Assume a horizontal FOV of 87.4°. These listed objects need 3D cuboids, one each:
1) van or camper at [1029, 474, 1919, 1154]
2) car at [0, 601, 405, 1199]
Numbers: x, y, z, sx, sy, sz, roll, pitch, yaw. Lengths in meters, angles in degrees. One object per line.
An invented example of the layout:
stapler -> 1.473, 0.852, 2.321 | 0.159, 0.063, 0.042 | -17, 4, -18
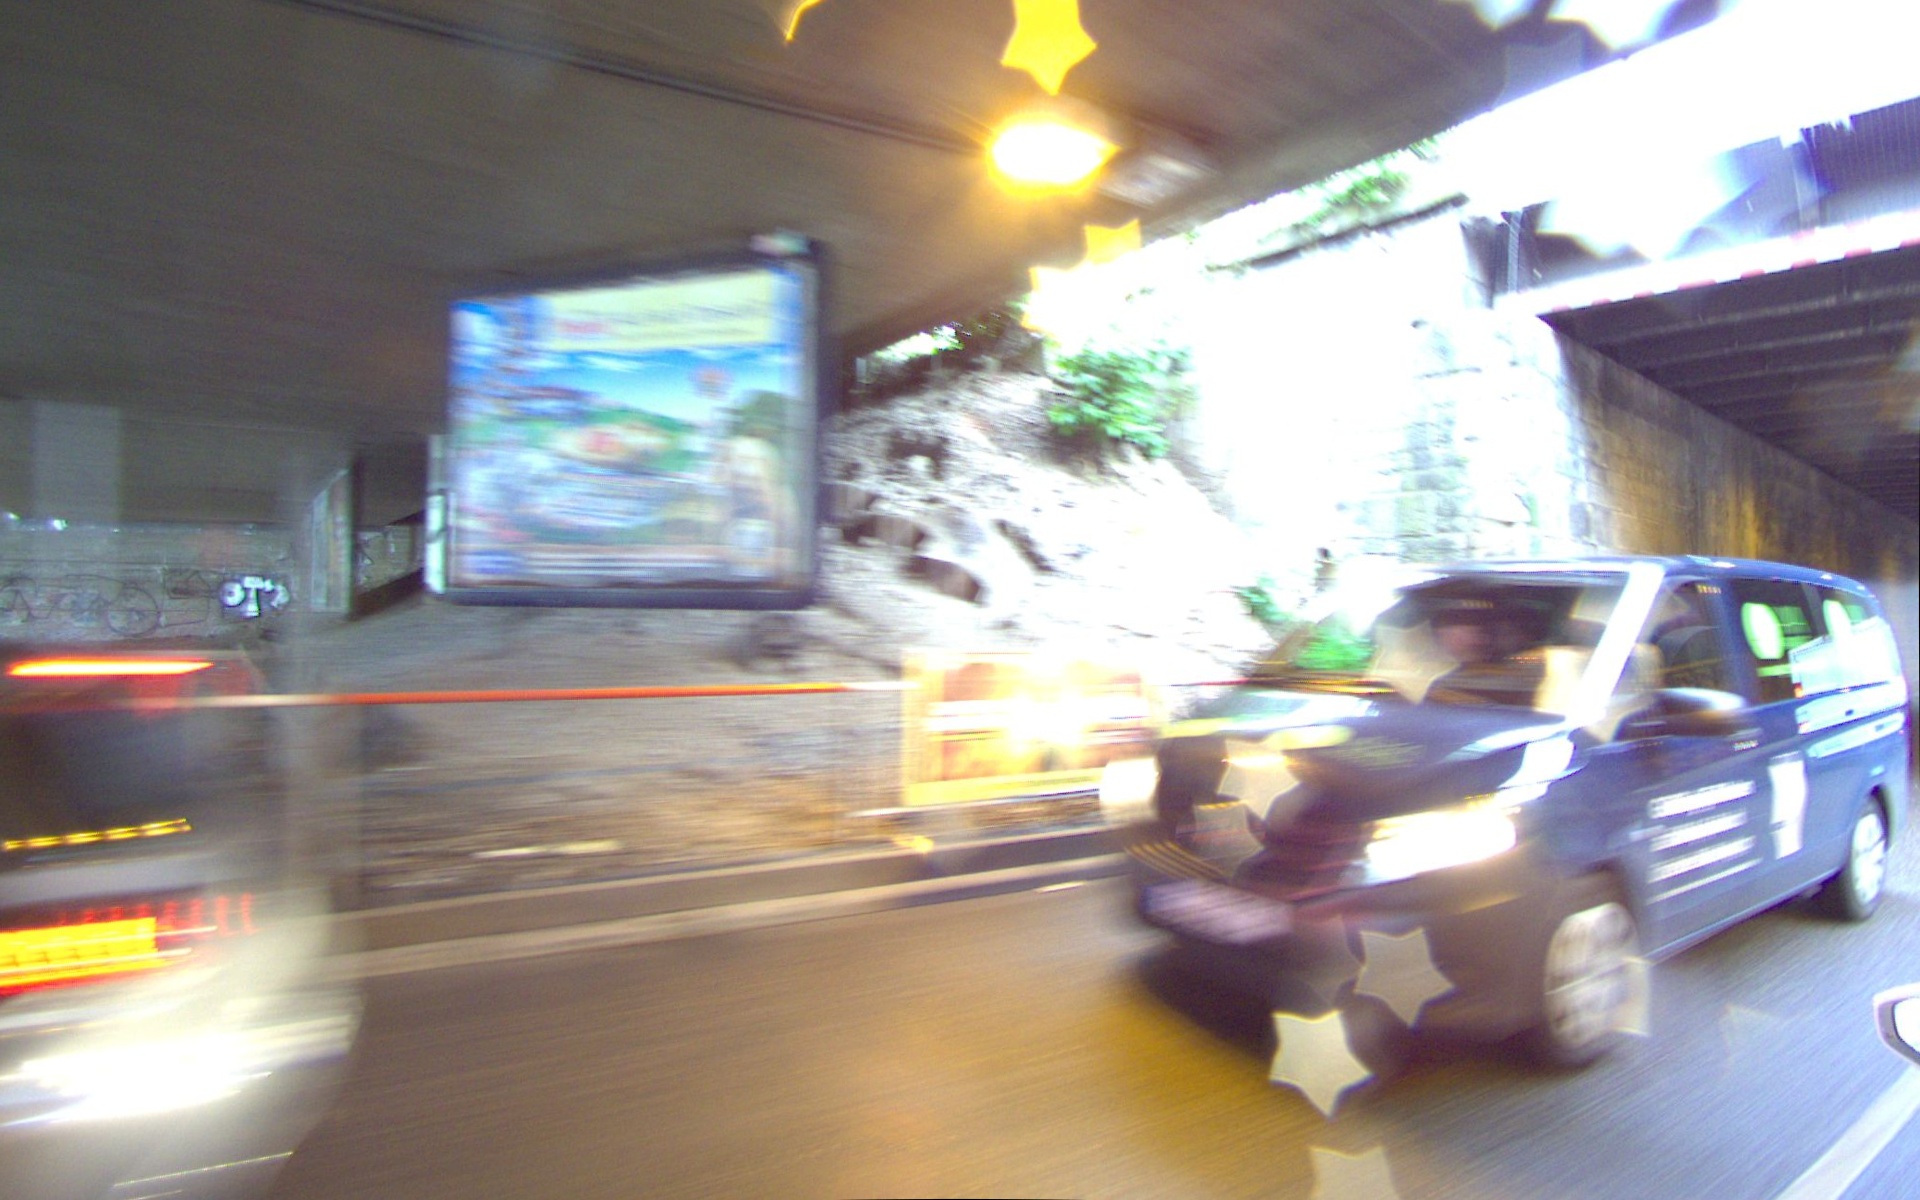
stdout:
van or camper -> 2.951, 0.700, 5.106 | 5.089, 1.893, 1.980 | 3, -2, -35
car -> -3.384, 0.705, 1.752 | 4.051, 1.484, 1.987 | 2, -2, -26
